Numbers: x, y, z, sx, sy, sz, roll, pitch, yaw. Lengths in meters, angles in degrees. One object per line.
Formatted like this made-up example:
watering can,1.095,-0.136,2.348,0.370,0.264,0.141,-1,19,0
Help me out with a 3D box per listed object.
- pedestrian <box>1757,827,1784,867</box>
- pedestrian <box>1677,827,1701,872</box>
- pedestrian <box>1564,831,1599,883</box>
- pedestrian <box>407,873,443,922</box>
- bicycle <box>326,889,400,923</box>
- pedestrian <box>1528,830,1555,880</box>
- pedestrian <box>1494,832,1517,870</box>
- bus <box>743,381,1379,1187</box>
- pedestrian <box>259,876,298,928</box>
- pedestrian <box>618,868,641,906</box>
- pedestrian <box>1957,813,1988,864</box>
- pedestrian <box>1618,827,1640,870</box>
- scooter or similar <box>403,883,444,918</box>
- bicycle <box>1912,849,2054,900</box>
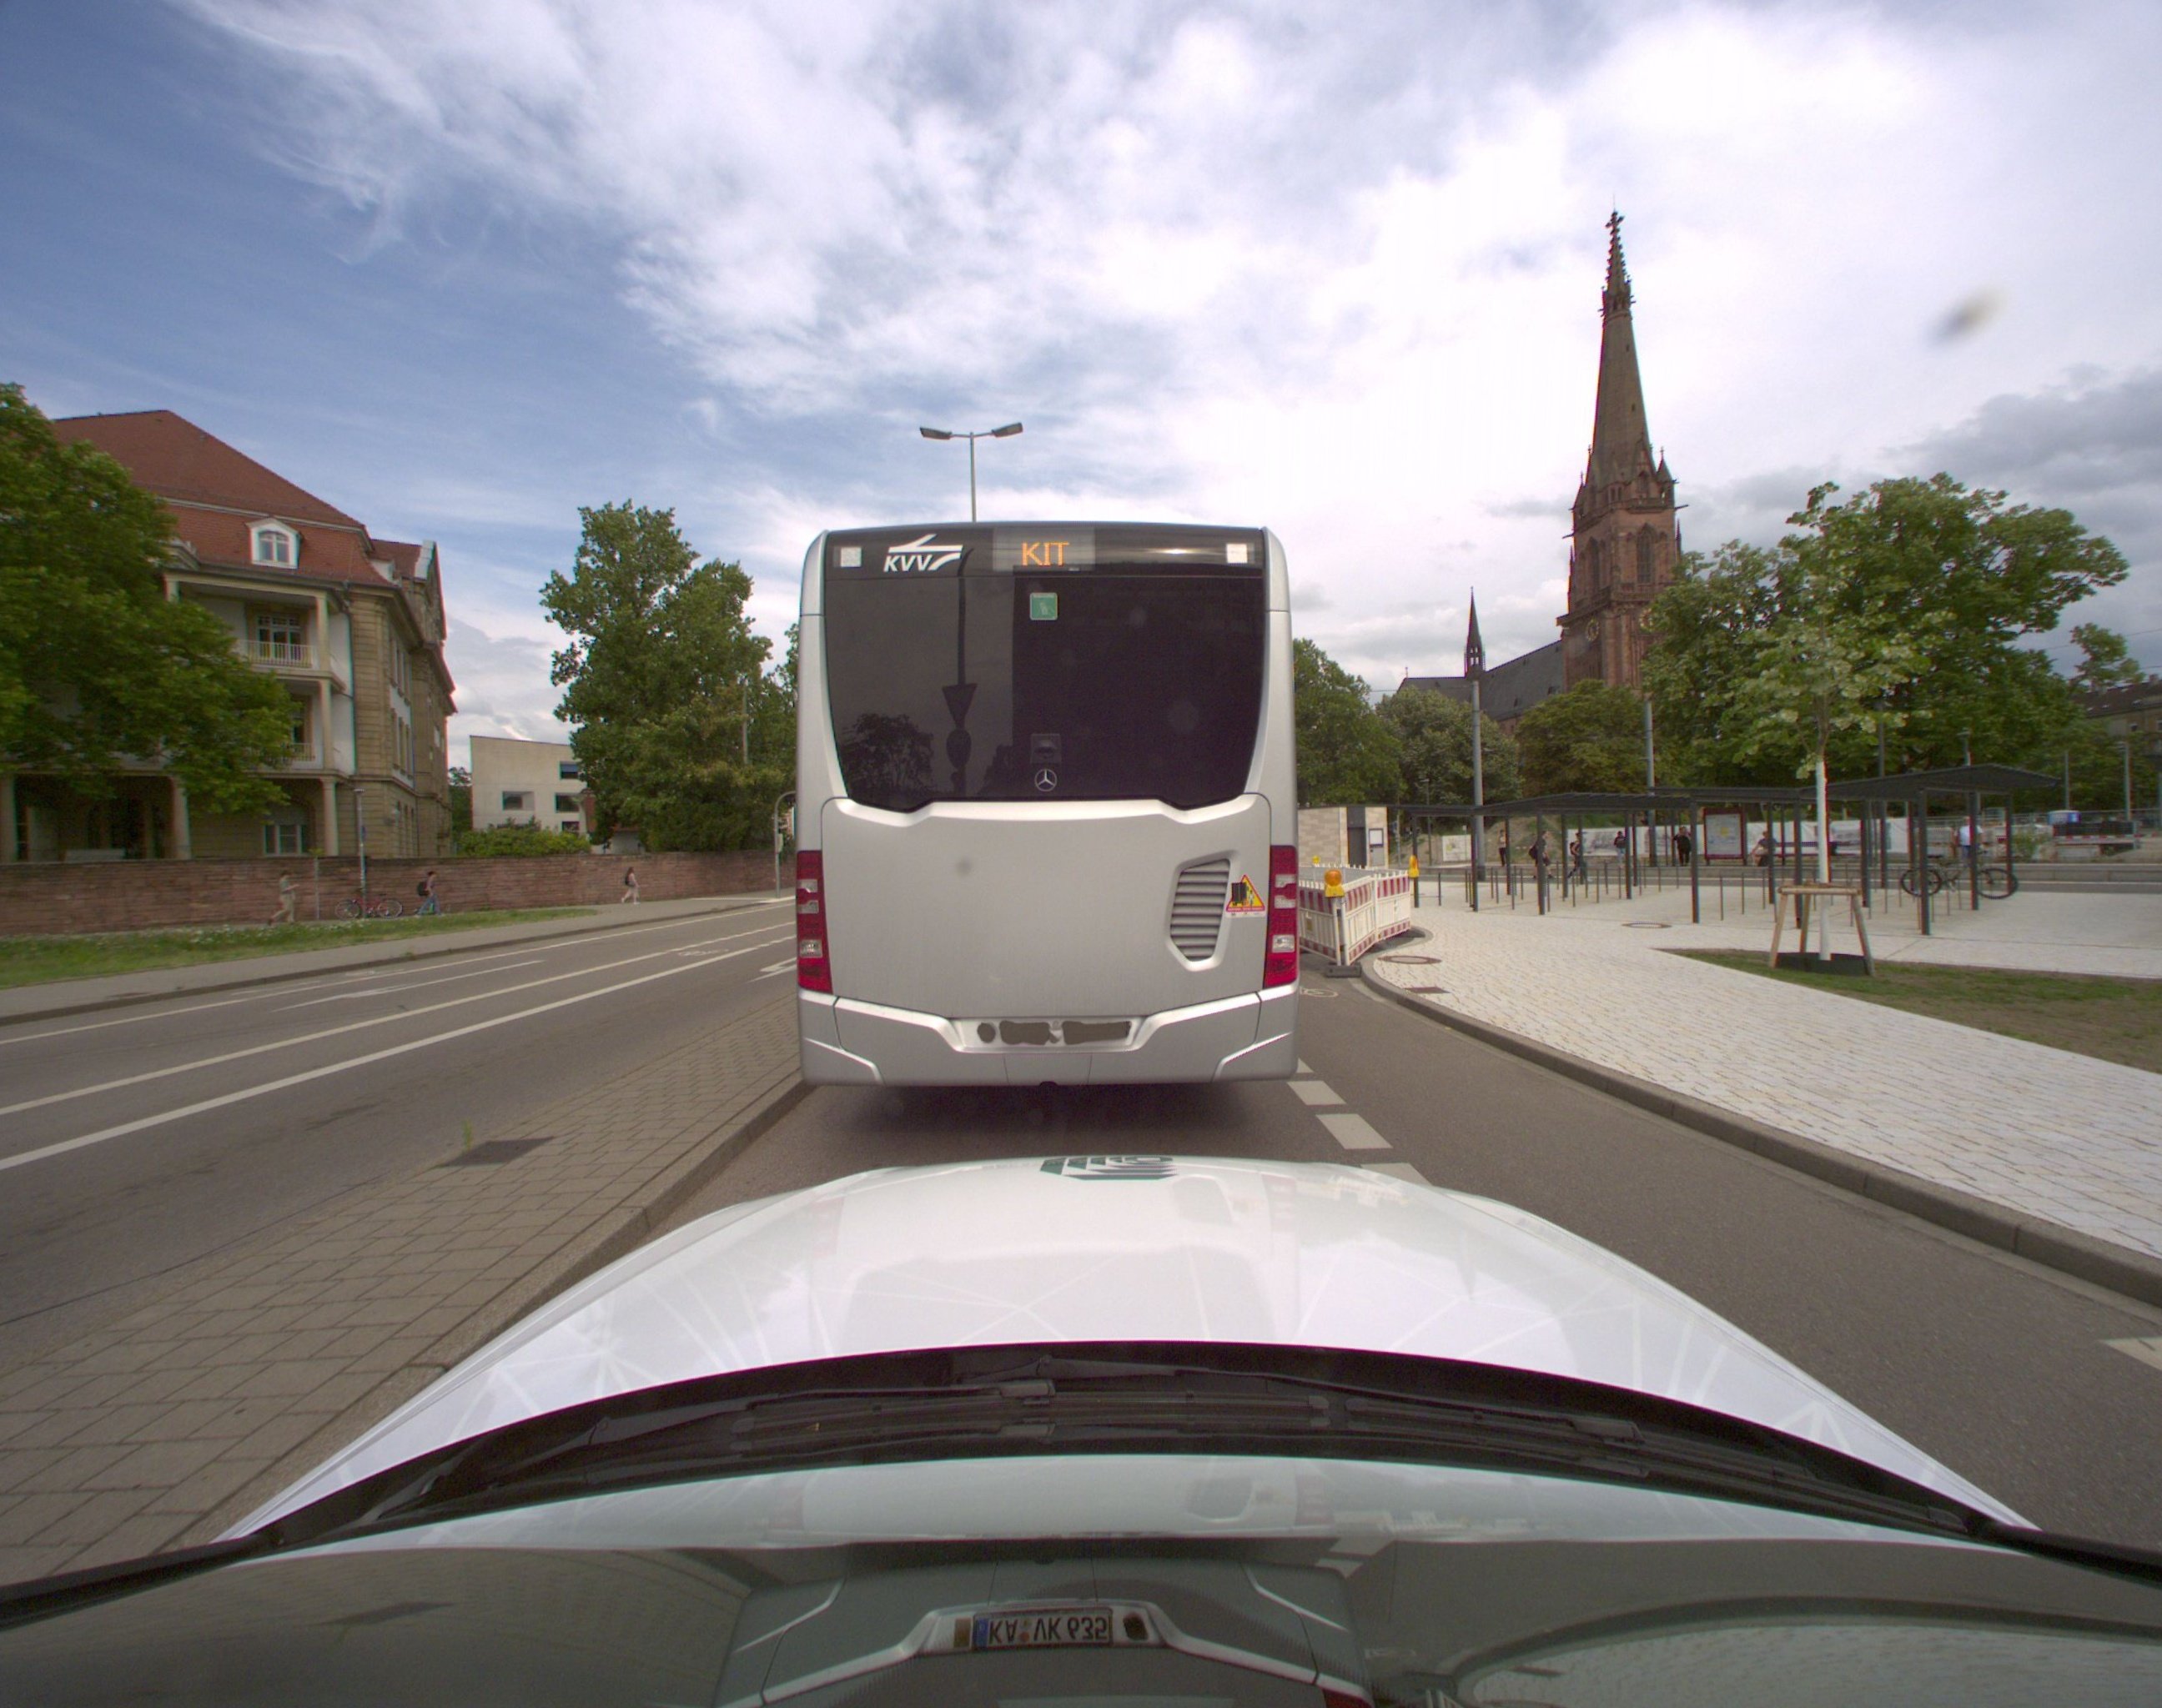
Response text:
pedestrian,26.102,-0.277,30.828,0.694,1.485,0.670,-4,3,-42
pedestrian,24.512,-0.194,32.832,0.526,1.800,0.670,-4,3,-42
pedestrian,15.763,0.071,25.665,0.541,1.603,0.789,-3,3,-36
pedestrian,-23.567,1.548,29.274,0.570,1.654,0.787,0,3,33
bicycle,-25.693,1.840,29.178,1.937,1.005,0.770,-4,3,-42
pedestrian,15.642,0.012,27.659,0.534,1.654,0.623,-3,3,-36
pedestrian,20.409,-0.160,39.147,0.816,1.800,0.755,-1,2,11
bus,0.339,-0.252,10.635,2.693,3.438,14.197,-2,0,4
pedestrian,-26.770,1.591,27.154,0.570,1.654,0.787,0,3,38
pedestrian,-19.932,1.456,35.970,0.525,1.654,0.633,-1,2,20
pedestrian,29.771,-0.522,27.201,0.714,1.677,0.670,-4,3,-42
pedestrian,23.267,-0.226,34.552,0.526,1.800,0.670,-4,3,-42
scooter or similar,-24.511,1.723,30.395,0.519,1.139,1.513,-2,3,-13
bicycle,18.744,0.395,16.970,0.587,0.955,1.944,-3,3,-38
